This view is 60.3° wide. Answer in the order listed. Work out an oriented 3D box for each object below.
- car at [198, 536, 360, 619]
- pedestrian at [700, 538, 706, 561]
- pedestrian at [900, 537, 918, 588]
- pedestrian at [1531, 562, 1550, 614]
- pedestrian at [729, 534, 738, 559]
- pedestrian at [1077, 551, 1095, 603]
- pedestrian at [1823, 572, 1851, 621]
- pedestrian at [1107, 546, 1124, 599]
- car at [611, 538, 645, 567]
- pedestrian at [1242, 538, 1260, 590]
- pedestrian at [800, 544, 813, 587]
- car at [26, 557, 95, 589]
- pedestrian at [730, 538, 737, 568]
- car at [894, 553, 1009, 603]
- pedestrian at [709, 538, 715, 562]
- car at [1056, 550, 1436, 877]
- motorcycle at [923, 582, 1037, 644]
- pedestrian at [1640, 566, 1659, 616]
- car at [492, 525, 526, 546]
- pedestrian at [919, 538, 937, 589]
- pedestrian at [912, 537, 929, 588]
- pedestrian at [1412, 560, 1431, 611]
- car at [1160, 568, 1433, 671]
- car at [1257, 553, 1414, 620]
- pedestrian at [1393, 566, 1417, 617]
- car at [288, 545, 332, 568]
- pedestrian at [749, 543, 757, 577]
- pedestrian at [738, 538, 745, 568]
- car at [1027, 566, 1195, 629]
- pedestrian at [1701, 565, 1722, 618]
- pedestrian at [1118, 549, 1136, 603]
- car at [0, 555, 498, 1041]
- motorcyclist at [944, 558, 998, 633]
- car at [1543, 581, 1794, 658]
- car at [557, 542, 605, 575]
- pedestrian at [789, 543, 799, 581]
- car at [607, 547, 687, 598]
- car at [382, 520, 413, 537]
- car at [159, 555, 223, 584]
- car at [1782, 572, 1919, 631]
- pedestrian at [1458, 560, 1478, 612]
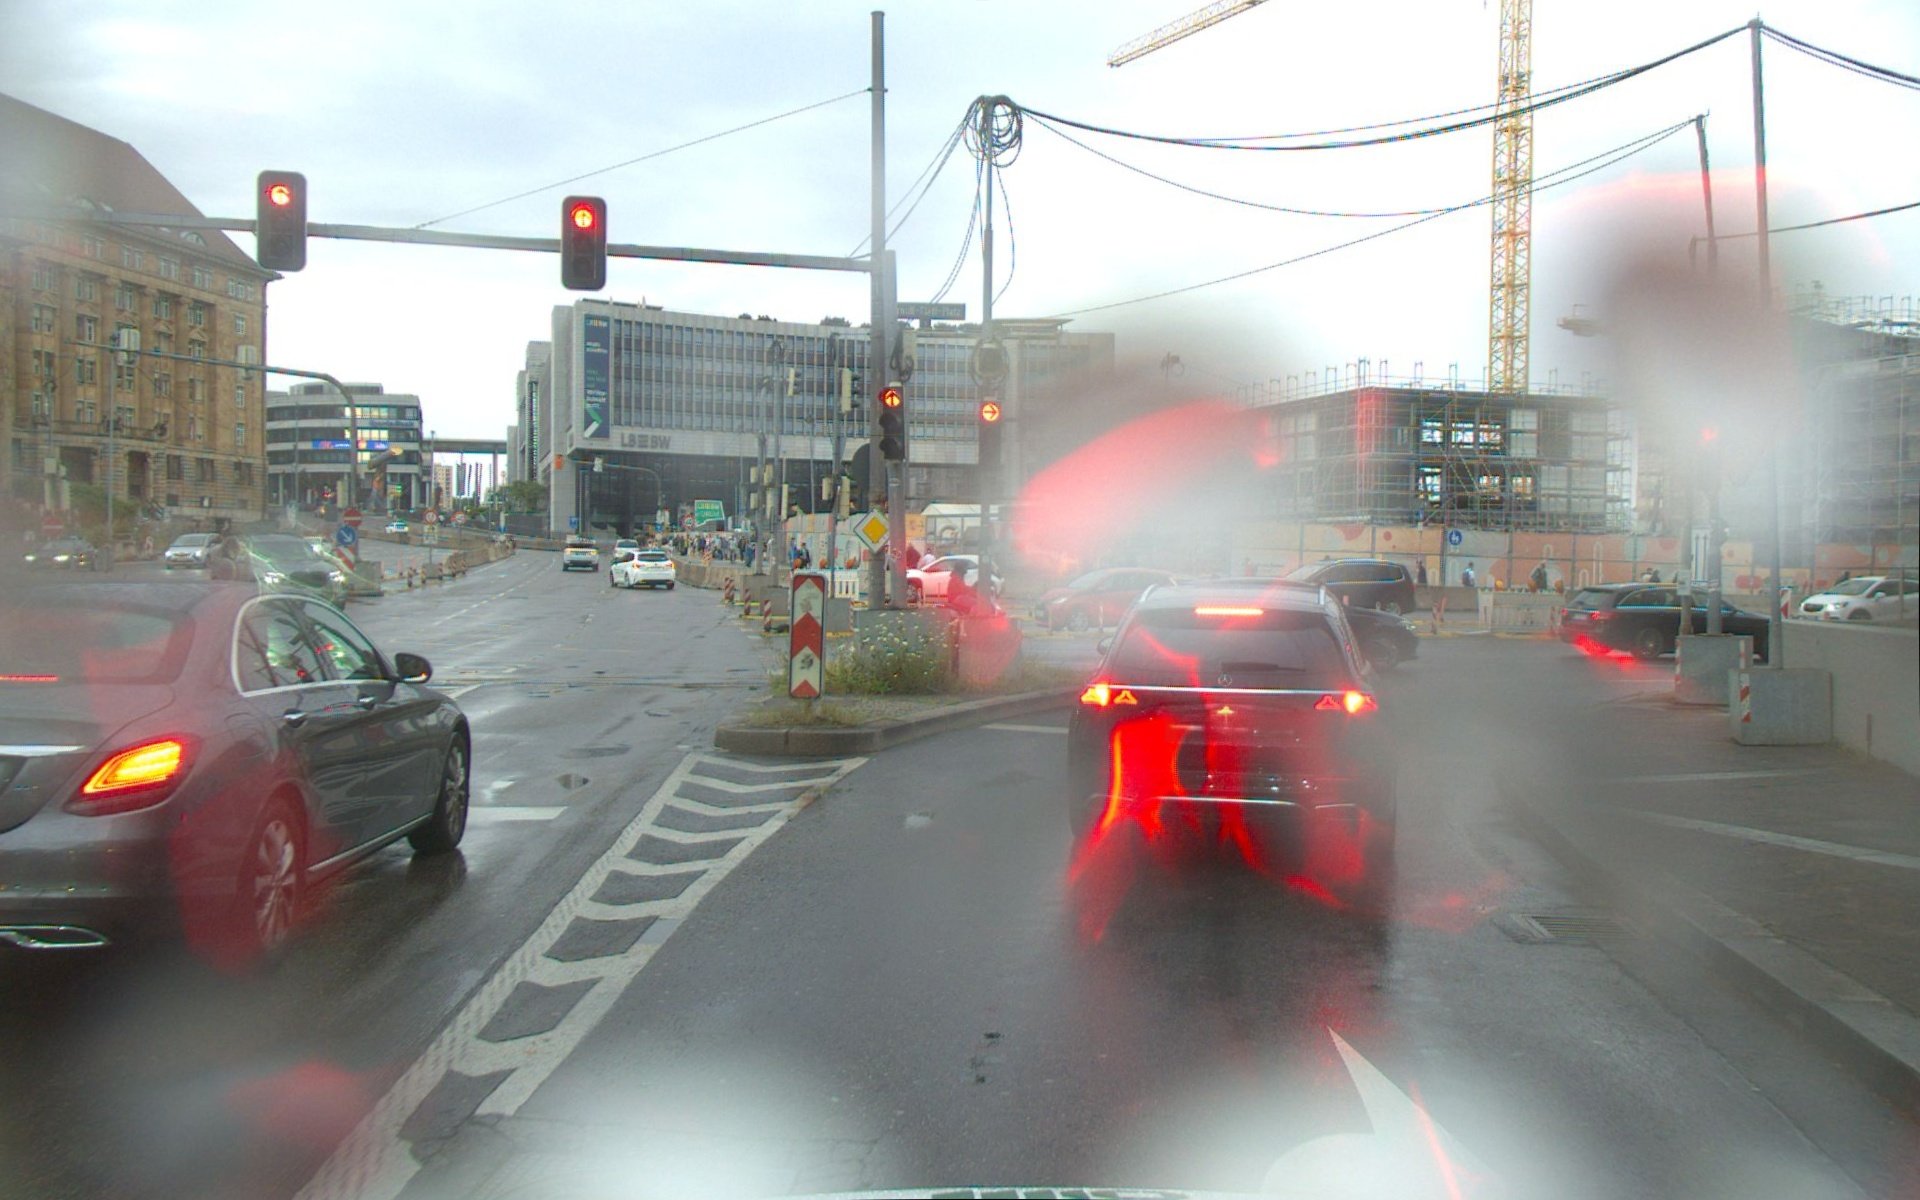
[{"bbox_3d":[-16.296,-0.524,39.438,1.983,1.829,5.024,1,0,-42],"label":"car"},{"bbox_3d":[-21.228,-4.164,136.752,0.355,1.931,0.574,1,0,-15],"label":"pedestrian"},{"bbox_3d":[-1.952,-1.431,63.458,0.359,1.931,0.568,2,-1,-40],"label":"pedestrian"},{"bbox_3d":[21.836,-0.454,62.235,0.564,1.931,0.361,1,0,-9],"label":"pedestrian"},{"bbox_3d":[-17.396,-4.105,127.040,0.511,1.931,0.574,1,0,-15],"label":"pedestrian"},{"bbox_3d":[4.721,-0.859,62.040,0.562,1.931,0.362,1,0,16],"label":"pedestrian"},{"bbox_3d":[35.054,-0.122,66.109,0.783,1.931,0.564,1,0,-13],"label":"pedestrian"},{"bbox_3d":[5.797,-1.024,61.786,0.563,1.931,0.362,1,0,1],"label":"pedestrian"},{"bbox_3d":[-21.552,-3.094,107.289,1.702,1.668,3.416,1,3,-20],"label":"car"},{"bbox_3d":[11.017,-1.358,62.560,0.563,1.931,0.362,1,0,-3],"label":"pedestrian"},{"bbox_3d":[-6.969,-1.569,75.138,0.356,1.931,0.572,1,0,-24],"label":"pedestrian"},{"bbox_3d":[-38.833,-1.152,71.510,1.707,1.282,3.320,1,0,-12],"label":"car"},{"bbox_3d":[-14.694,-3.035,107.471,0.355,1.931,0.574,1,0,-15],"label":"pedestrian"},{"bbox_3d":[-0.249,-0.689,53.220,3.472,1.499,1.788,1,0,7],"label":"car"},{"bbox_3d":[-20.538,-4.149,136.944,0.355,1.931,0.574,1,0,-15],"label":"pedestrian"},{"bbox_3d":[1.820,0.563,10.255,1.851,1.571,3.997,1,0,12],"label":"car"},{"bbox_3d":[0.393,0.244,31.415,2.091,1.128,0.851,1,0,5],"label":"motorcycle"},{"bbox_3d":[26.725,-0.338,64.131,0.564,1.931,0.361,1,0,-11],"label":"pedestrian"},{"bbox_3d":[-46.386,-6.604,170.070,1.981,2.049,3.942,1,0,-40],"label":"car"},{"bbox_3d":[-1.241,-1.414,63.898,0.359,1.931,0.567,2,-1,-43],"label":"pedestrian"},{"bbox_3d":[-1.529,-1.431,63.629,0.566,1.931,0.360,0,0,43],"label":"pedestrian"},{"bbox_3d":[17.708,-0.548,63.455,0.564,1.931,0.361,1,0,-9],"label":"pedestrian"},{"bbox_3d":[5.401,0.310,26.953,4.015,1.533,2.000,1,0,-1],"label":"car"},{"bbox_3d":[10.715,-0.378,47.300,3.919,1.764,1.993,1,0,-14],"label":"car"},{"bbox_3d":[17.250,-0.331,64.166,0.644,1.934,0.630,1,0,-12],"label":"pedestrian"},{"bbox_3d":[-40.255,-2.680,102.452,1.735,1.282,3.990,1,0,-10],"label":"car"},{"bbox_3d":[-11.774,-2.285,94.082,0.355,1.931,0.574,1,0,-15],"label":"pedestrian"},{"bbox_3d":[-14.206,-3.026,107.597,0.355,1.931,0.574,1,0,-15],"label":"pedestrian"},{"bbox_3d":[3.458,-0.045,37.935,3.477,1.327,1.658,1,0,-17],"label":"car"},{"bbox_3d":[28.006,-0.321,61.617,0.564,1.931,0.361,1,0,-9],"label":"pedestrian"},{"bbox_3d":[6.113,-0.880,60.617,0.563,1.931,0.362,1,0,-6],"label":"pedestrian"},{"bbox_3d":[-3.428,0.555,7.284,1.748,1.426,4.484,1,2,-3],"label":"car"},{"bbox_3d":[0.214,-0.086,31.437,0.925,1.382,0.850,1,0,5],"label":"motorcyclist"},{"bbox_3d":[13.662,0.372,32.038,4.019,1.368,1.998,1,0,-6],"label":"car"},{"bbox_3d":[-20.761,-2.258,90.561,1.966,1.668,3.973,1,0,-22],"label":"car"},{"bbox_3d":[-8.368,-1.916,83.320,0.356,1.931,0.573,1,0,-19],"label":"pedestrian"},{"bbox_3d":[-11.864,-1.004,62.438,1.968,1.797,4.385,1,0,-24],"label":"car"},{"bbox_3d":[-67.382,-8.588,198.140,1.985,1.847,3.934,2,0,-45],"label":"car"},{"bbox_3d":[-36.842,-1.421,79.358,1.735,1.282,4.184,1,0,-10],"label":"car"},{"bbox_3d":[25.863,0.061,47.266,3.976,1.579,1.991,1,0,-17],"label":"car"},{"bbox_3d":[19.110,-0.518,62.214,0.564,1.931,0.361,1,0,-9],"label":"pedestrian"}]
